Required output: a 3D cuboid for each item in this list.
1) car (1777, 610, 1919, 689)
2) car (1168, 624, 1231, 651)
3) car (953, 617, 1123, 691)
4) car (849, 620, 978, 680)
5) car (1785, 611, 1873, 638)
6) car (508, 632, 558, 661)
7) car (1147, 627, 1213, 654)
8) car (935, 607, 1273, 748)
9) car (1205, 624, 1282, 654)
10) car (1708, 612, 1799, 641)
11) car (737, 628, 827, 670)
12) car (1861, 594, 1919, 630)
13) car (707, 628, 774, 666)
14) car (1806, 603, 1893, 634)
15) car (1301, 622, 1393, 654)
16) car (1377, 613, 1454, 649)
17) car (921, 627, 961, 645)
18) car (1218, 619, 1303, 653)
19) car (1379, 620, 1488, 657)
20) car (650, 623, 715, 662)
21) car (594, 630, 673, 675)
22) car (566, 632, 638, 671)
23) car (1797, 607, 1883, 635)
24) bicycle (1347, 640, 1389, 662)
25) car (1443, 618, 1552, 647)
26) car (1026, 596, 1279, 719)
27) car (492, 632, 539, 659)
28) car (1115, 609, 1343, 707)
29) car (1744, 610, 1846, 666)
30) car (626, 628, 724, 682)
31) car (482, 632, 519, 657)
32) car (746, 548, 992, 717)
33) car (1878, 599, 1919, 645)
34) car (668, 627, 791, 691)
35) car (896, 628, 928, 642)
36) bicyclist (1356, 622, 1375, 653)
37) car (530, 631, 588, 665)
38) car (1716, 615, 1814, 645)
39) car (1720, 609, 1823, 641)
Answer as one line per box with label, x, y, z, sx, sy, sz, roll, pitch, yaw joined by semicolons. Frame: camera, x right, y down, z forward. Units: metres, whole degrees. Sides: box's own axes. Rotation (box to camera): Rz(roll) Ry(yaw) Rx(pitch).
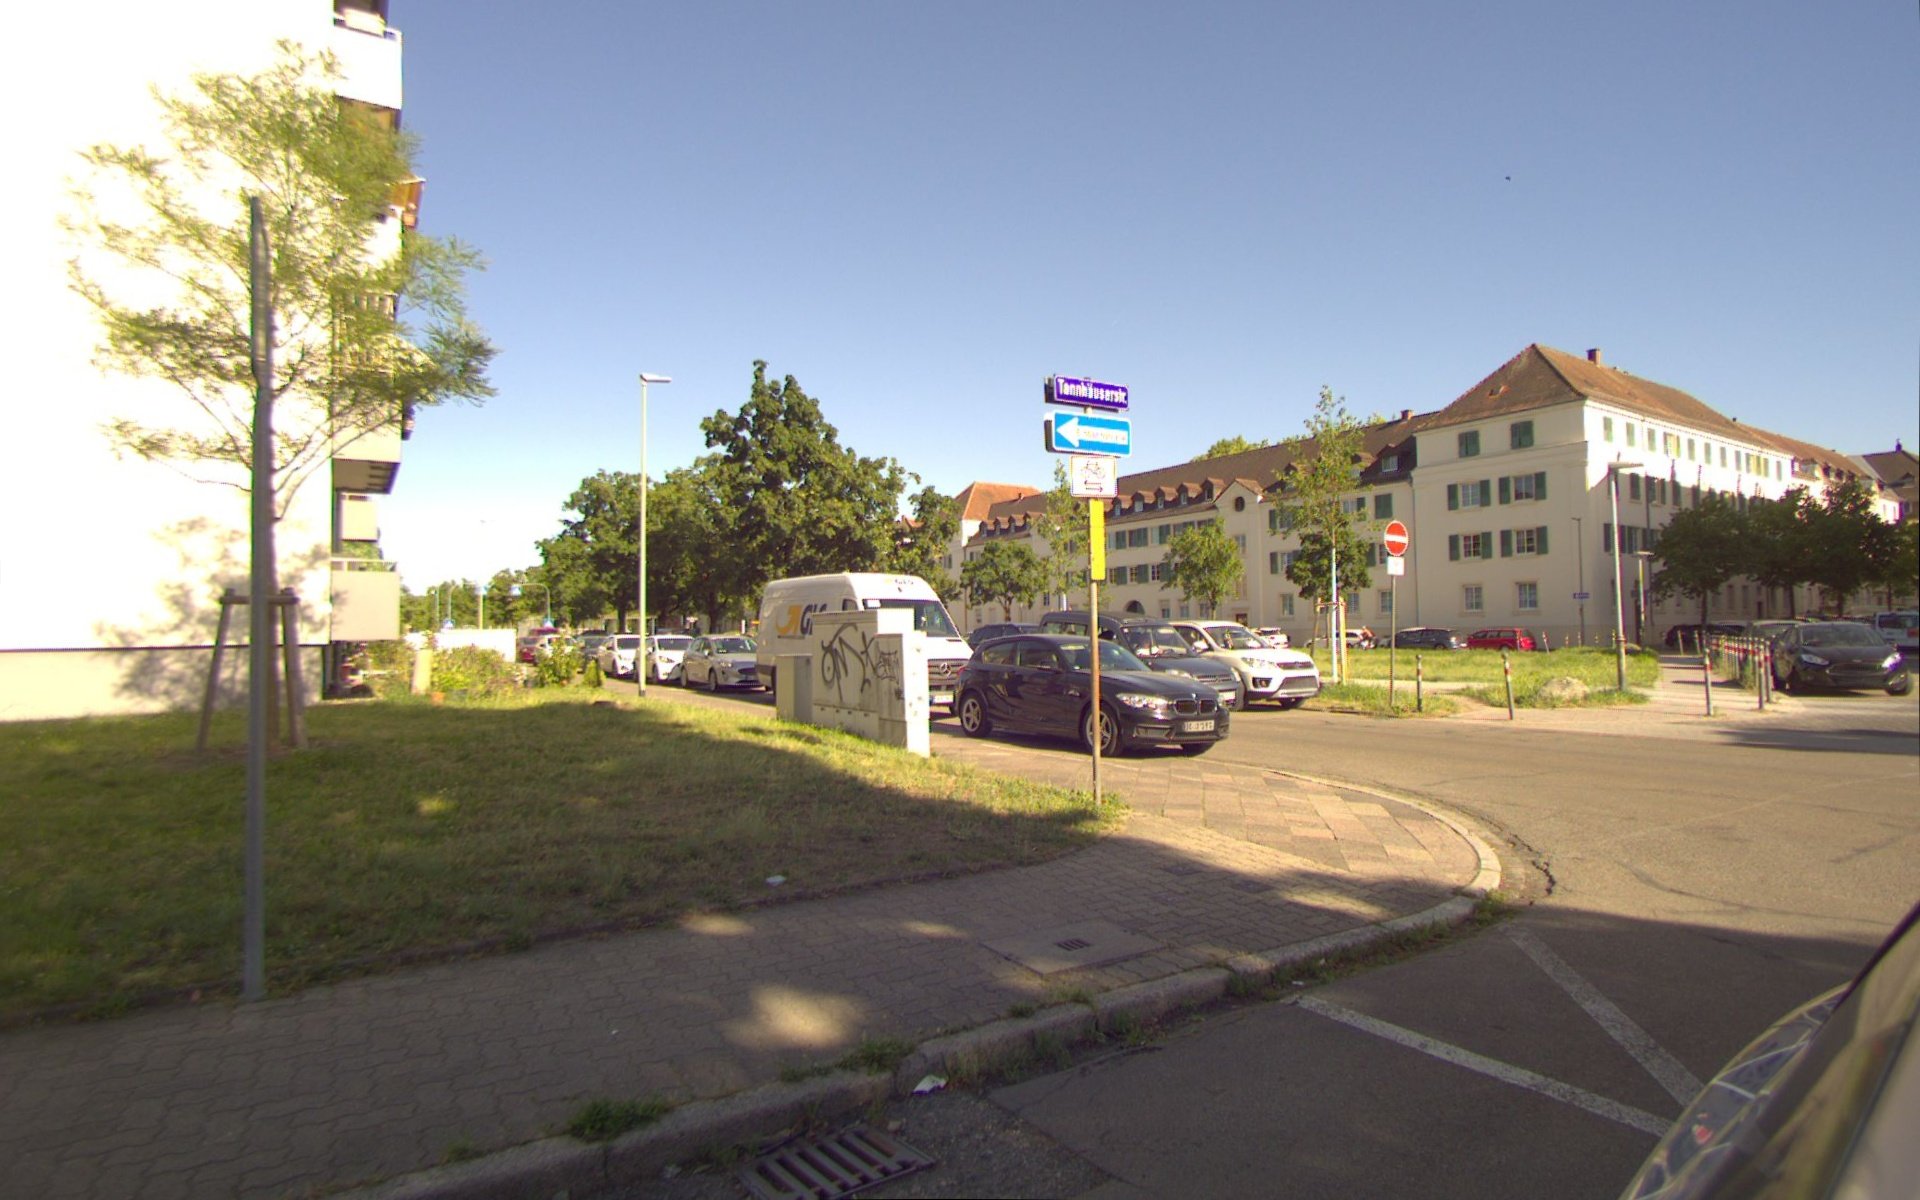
car;18.293;0.970;20.751;1.907;1.428;4.294;-4;-3;34
car;17.712;2.772;74.989;2.227;1.930;4.167;0;-2;-33
car;1.816;1.305;25.249;1.812;1.660;4.717;2;-3;-31
car;-1.488;1.474;30.364;1.789;1.631;4.740;2;-3;-31
car;51.677;1.453;60.247;1.825;1.540;3.614;0;-2;-36
car;-24.044;2.597;56.888;1.813;1.492;5.066;0;-2;-32
car;14.968;2.755;69.031;2.278;1.773;4.011;0;-2;-30
car;1.655;0.924;13.240;1.926;1.501;4.500;2;-3;-32
car;17.960;2.464;64.205;2.200;1.844;4.257;0;-2;-34
car;43.996;1.471;56.188;1.676;1.540;3.614;0;-2;-36
car;-6.909;1.873;38.999;1.726;1.511;4.668;2;-3;-33
car;68.095;0.848;72.475;1.919;2.552;4.953;0;-2;-35
car;-9.297;1.969;42.750;1.560;1.512;3.685;2;-3;-33
car;55.624;1.184;63.366;1.919;1.858;3.711;0;-2;-36
car;24.415;2.405;64.056;2.118;1.910;5.160;0;-2;-32
car;26.931;1.823;59.974;1.638;2.040;3.898;1;-2;-32
car;-1.809;3.380;95.688;1.760;1.604;4.236;0;-2;-33
car;20.812;2.506;70.269;2.490;2.245;5.257;0;-2;-33
car;24.771;2.007;53.102;2.123;1.844;4.705;0;-2;-33
car;-13.846;2.072;50.298;1.833;1.808;4.994;0;-1;-31
car;-11.442;1.791;35.336;1.692;1.454;4.154;1;-2;-31
car;-14.193;2.001;40.017;1.671;1.454;4.472;2;-3;-33
car;53.771;1.291;61.909;1.797;1.662;3.614;0;-2;-36
bicycle;24.299;3.010;60.269;0.828;1.279;2.258;0;-2;-32
car;29.508;1.778;55.712;1.961;1.504;4.959;1;-2;-32
car;3.103;0.932;17.202;1.867;1.813;4.157;0;-2;-32
car;-27.129;2.734;61.691;1.843;1.553;4.491;0;-2;-35
car;5.041;1.086;19.580;1.726;1.669;4.289;2;-3;-30
car;25.343;1.148;30.868;1.915;1.597;4.294;-2;-2;34
car;-8.705;1.613;30.708;1.847;1.494;4.142;1;-2;-31
car;-30.015;2.879;66.048;1.740;1.549;4.560;0;-2;-30
car;-2.081;0.660;19.953;2.106;2.748;6.845;2;-3;-30
car;43.540;0.969;45.694;4.490;2.040;2.140;0;-2;-35
car;-6.170;1.511;26.764;1.819;1.485;4.202;-1;-2;-33
car;-4.772;3.433;100.147;1.623;1.350;3.515;0;-2;-33
bicyclist;24.194;2.244;60.386;0.662;1.826;0.802;0;-2;-32
car;-18.770;2.229;47.278;1.720;1.518;3.860;1;-2;-35
car;42.434;1.585;53.399;1.680;1.541;3.668;0;-2;-33
car;45.885;1.414;57.312;1.674;1.723;4.242;0;-2;-34
